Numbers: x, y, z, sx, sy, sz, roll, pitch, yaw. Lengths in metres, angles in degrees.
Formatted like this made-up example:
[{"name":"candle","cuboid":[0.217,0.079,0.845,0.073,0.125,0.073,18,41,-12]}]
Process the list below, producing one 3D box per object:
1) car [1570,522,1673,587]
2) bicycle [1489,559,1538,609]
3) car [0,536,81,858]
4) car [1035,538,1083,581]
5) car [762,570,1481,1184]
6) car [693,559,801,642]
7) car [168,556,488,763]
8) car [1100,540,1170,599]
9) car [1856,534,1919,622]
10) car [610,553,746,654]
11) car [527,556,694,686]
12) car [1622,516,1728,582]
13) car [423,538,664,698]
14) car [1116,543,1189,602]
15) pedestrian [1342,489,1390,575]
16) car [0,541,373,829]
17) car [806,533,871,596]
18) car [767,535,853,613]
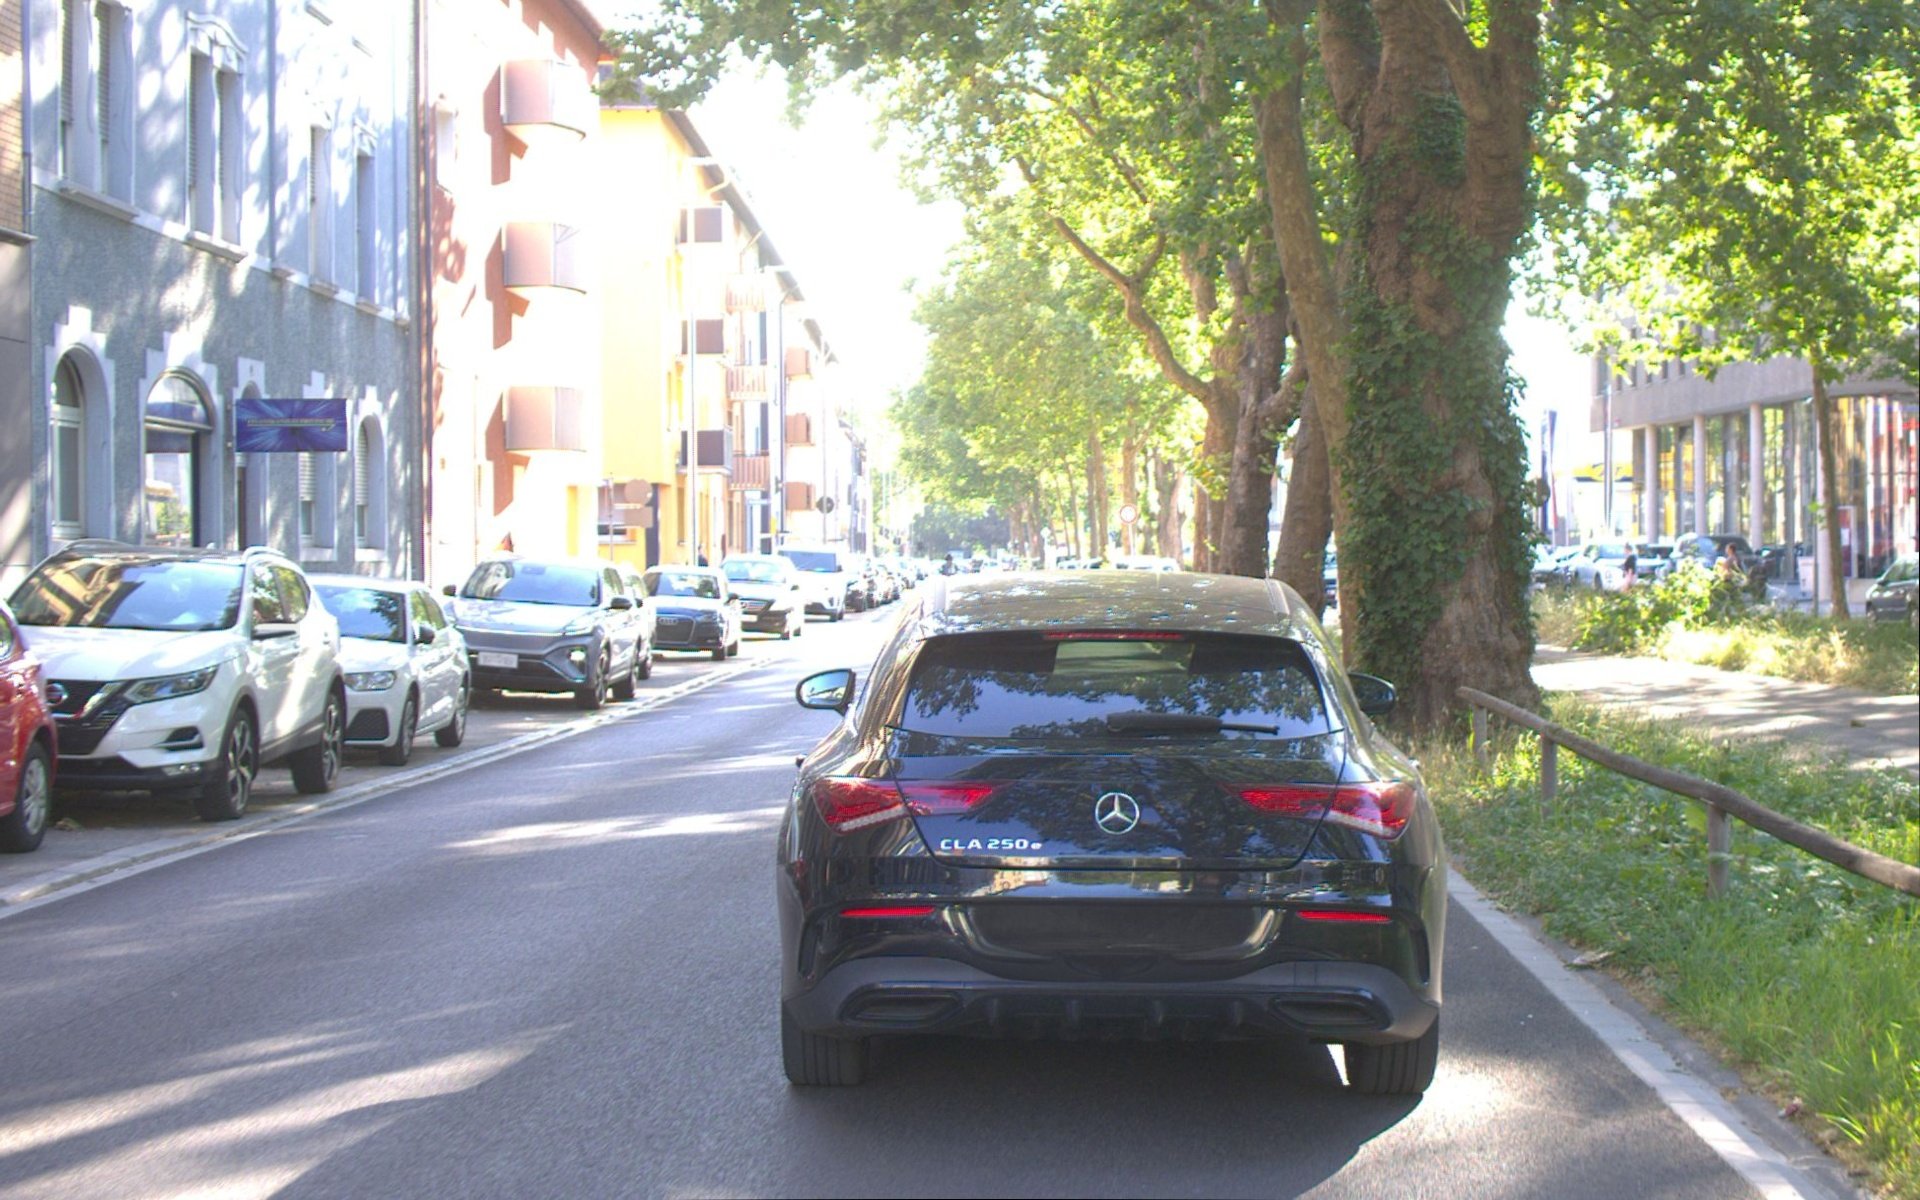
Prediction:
[{"name":"car","cuboid":[18.006,-1.247,93.717,1.875,1.727,4.181,-1,1,-1]},{"name":"bicycle","cuboid":[11.196,-0.325,69.528,0.382,1.000,1.487,-1,1,-15]},{"name":"car","cuboid":[-5.591,0.476,16.389,1.678,1.586,3.756,1,1,2]},{"name":"car","cuboid":[4.707,-1.922,164.196,1.993,2.007,4.000,0,0,-3]},{"name":"car","cuboid":[0.347,0.668,10.453,1.744,1.438,3.969,1,1,-2]},{"name":"car","cuboid":[-4.130,-0.013,67.162,1.678,1.518,4.021,1,1,2]},{"name":"car","cuboid":[-4.982,0.420,27.587,1.678,1.491,3.871,1,1,2]},{"name":"car","cuboid":[4.983,-0.866,98.189,1.810,1.533,4.583,-3,0,1]},{"name":"car","cuboid":[16.997,-0.403,59.499,1.859,1.463,4.124,-1,1,0]},{"name":"car","cuboid":[-4.398,0.032,54.082,1.678,1.481,3.601,1,1,2]},{"name":"car","cuboid":[-4.725,0.249,46.906,1.678,1.636,3.984,1,1,3]},{"name":"car","cuboid":[19.402,-1.399,93.456,1.986,1.727,4.181,-1,1,0]},{"name":"car","cuboid":[-4.553,0.148,38.212,1.908,1.636,4.577,1,1,2]},{"name":"car","cuboid":[5.095,-0.727,91.307,1.635,1.463,4.021,-2,0,-1]},{"name":"pedestrian","cuboid":[8.464,-1.425,71.733,0.767,1.755,0.664,-3,1,-10]},{"name":"car","cuboid":[-4.946,0.441,21.392,1.678,1.579,4.200,1,1,2]},{"name":"car","cuboid":[-3.547,-1.062,100.645,1.745,1.781,4.549,1,1,-1]},{"name":"car","cuboid":[-3.775,-0.682,87.434,1.734,1.900,5.208,1,1,2]}]
